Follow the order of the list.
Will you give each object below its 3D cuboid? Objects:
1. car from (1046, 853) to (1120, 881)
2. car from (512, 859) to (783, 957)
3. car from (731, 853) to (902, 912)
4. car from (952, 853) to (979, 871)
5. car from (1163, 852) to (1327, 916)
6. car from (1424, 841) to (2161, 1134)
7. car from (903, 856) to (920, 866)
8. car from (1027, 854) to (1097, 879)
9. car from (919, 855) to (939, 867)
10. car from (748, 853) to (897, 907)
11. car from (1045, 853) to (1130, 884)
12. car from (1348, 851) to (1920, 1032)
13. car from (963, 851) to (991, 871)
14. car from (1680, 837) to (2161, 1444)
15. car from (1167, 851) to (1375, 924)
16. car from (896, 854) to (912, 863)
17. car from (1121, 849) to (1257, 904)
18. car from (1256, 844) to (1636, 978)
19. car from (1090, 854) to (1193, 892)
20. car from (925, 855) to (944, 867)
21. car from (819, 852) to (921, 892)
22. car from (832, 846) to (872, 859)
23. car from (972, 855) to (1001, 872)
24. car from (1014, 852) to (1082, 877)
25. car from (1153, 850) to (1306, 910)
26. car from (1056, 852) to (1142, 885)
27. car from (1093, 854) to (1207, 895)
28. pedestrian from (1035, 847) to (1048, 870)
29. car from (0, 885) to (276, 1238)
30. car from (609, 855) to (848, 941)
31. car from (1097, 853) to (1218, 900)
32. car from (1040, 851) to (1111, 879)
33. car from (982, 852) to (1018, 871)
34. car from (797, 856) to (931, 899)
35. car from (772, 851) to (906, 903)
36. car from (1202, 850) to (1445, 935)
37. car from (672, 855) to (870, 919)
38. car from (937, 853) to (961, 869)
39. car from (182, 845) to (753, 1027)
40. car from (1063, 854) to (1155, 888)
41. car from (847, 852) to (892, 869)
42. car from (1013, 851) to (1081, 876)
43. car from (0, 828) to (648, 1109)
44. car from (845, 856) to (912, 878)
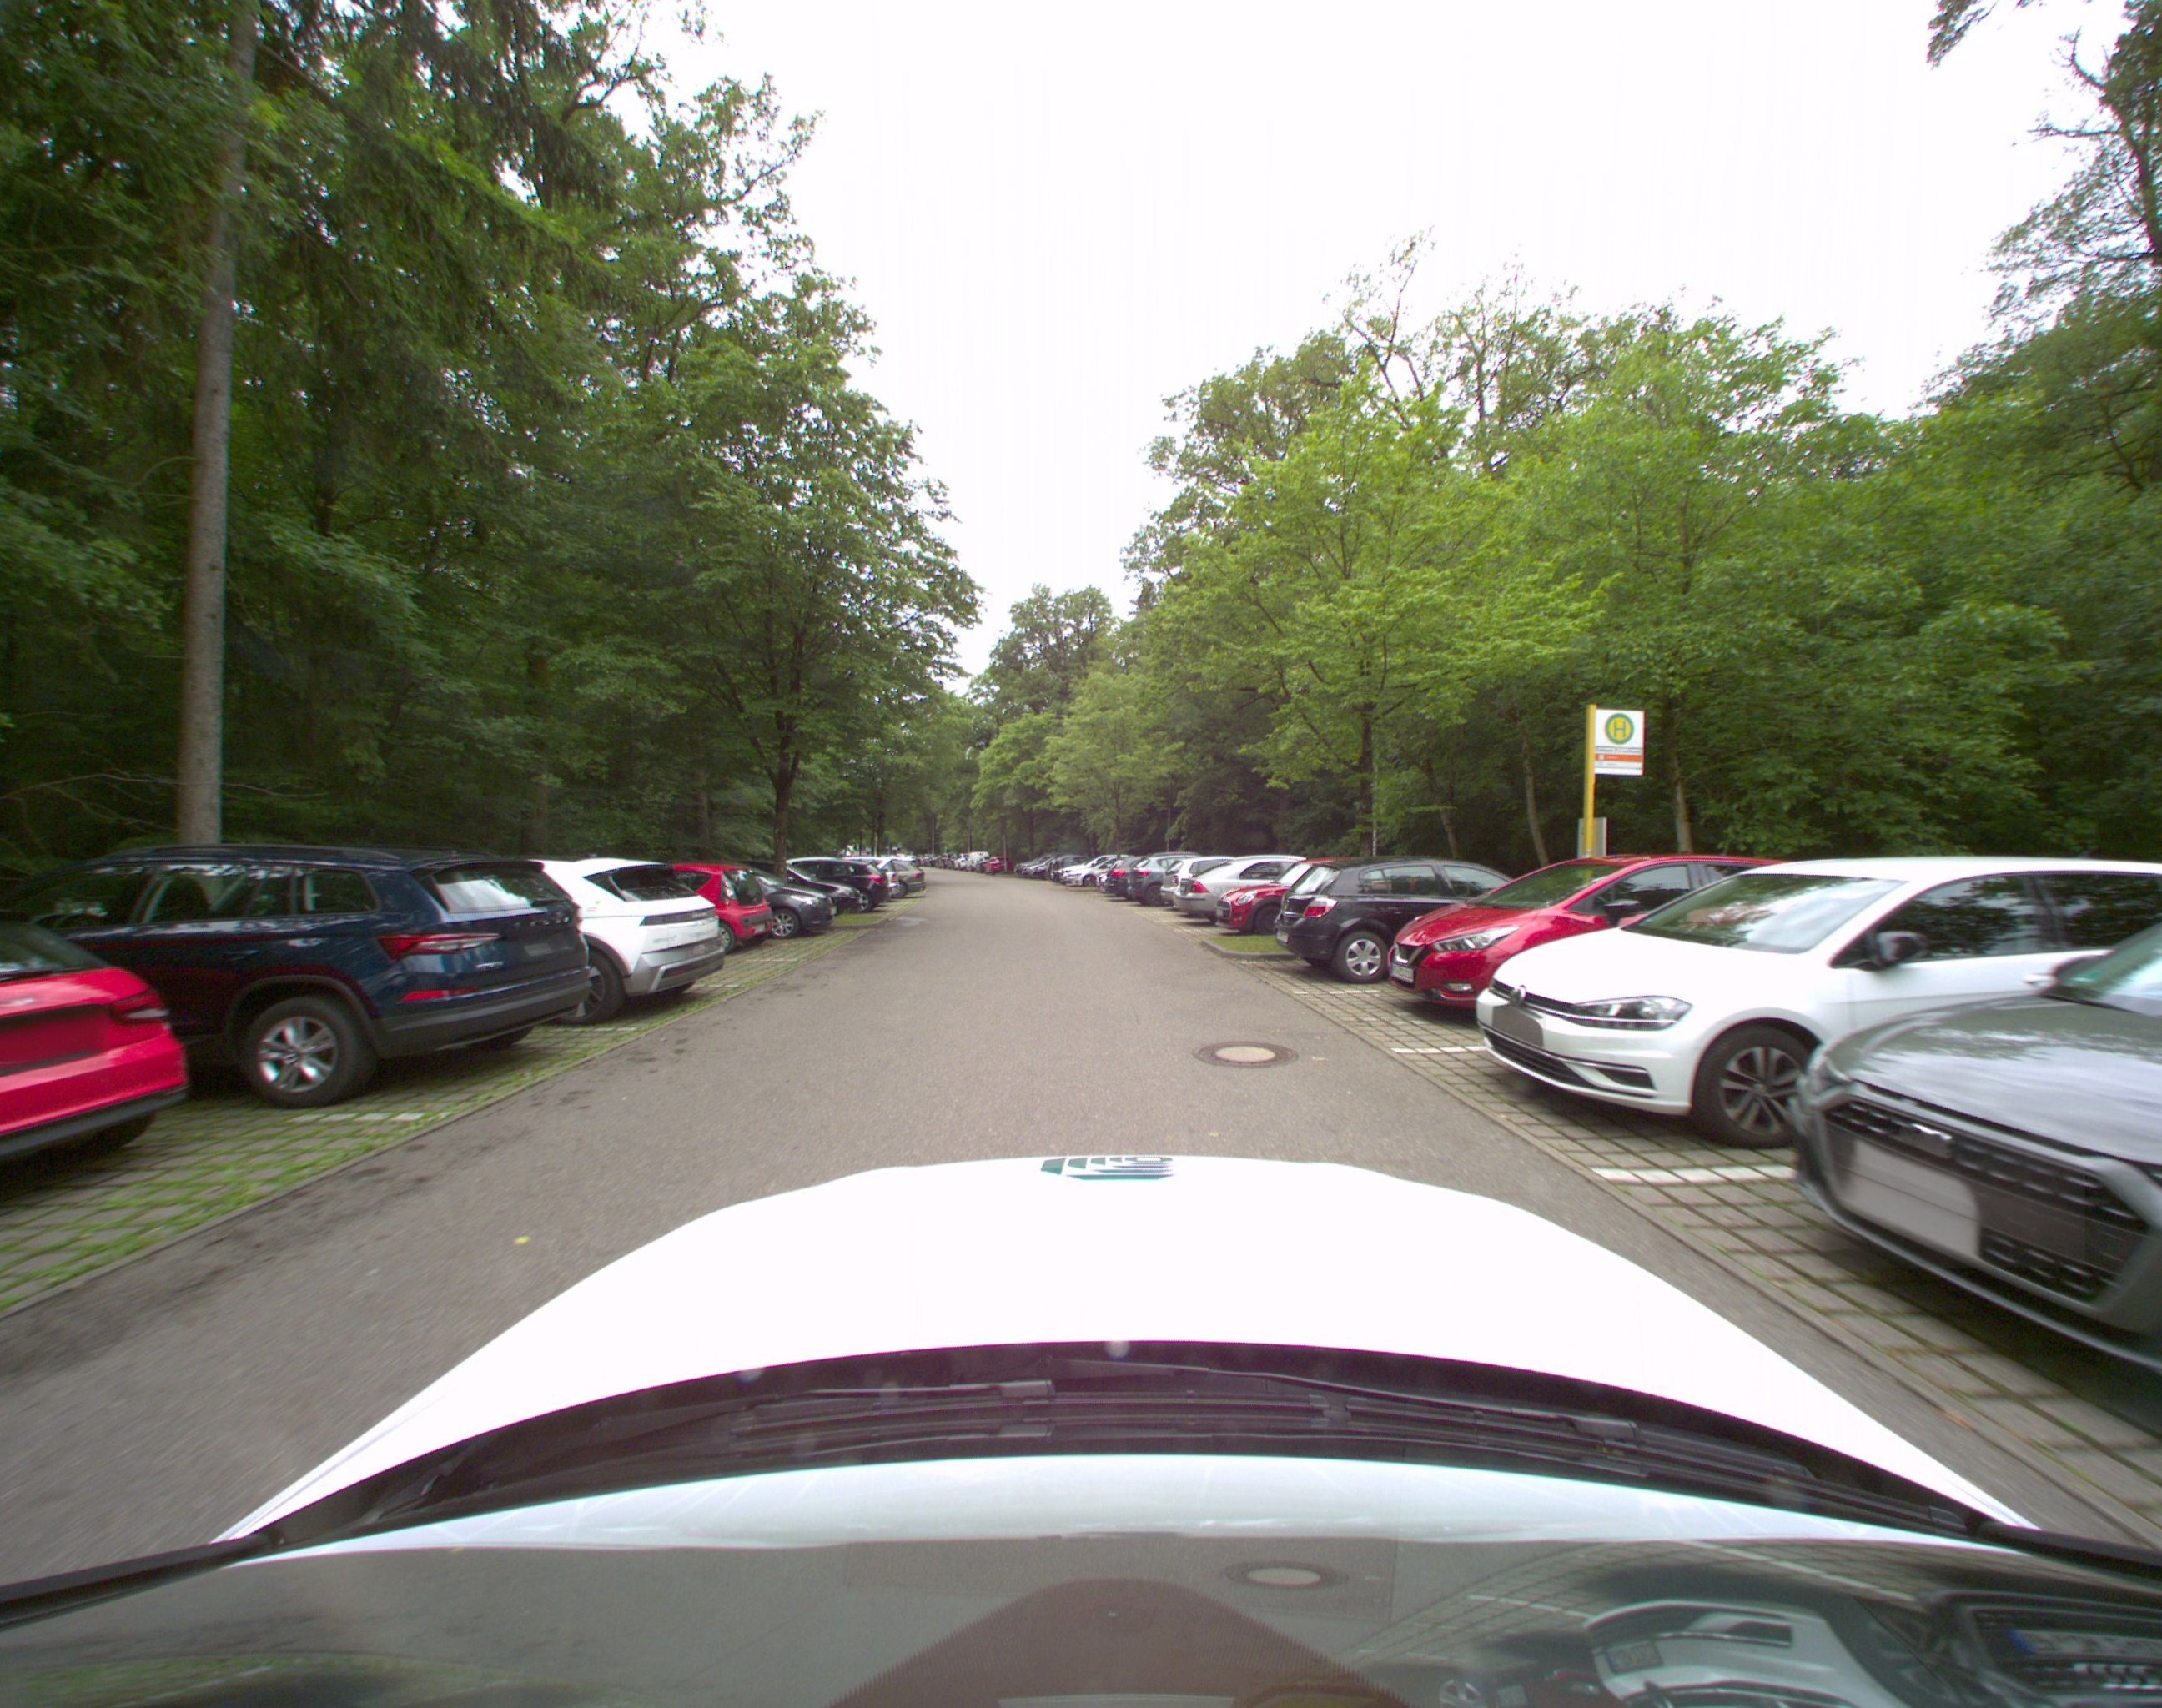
[{"bbox_3d":[0.086,0.704,45.429,3.830,1.457,1.801,-1,0,-13],"label":"car"},{"bbox_3d":[-7.096,0.850,13.625,3.598,1.474,1.673,-1,0,-3],"label":"car"},{"bbox_3d":[-7.366,0.770,23.056,4.227,1.530,2.002,-1,0,-6],"label":"car"},{"bbox_3d":[-11.563,0.765,81.007,1.791,1.662,4.686,0,0,-19],"label":"car"},{"bbox_3d":[4.040,0.720,20.400,3.697,1.511,1.747,0,-1,-6],"label":"car"},{"bbox_3d":[4.883,0.669,5.062,4.755,1.475,1.853,0,1,1],"label":"car"},{"bbox_3d":[-25.903,1.057,124.211,1.944,1.475,3.965,0,0,-20],"label":"car"},{"bbox_3d":[-1.179,0.762,50.205,3.991,1.475,1.944,0,0,-13],"label":"car"},{"bbox_3d":[-20.135,0.900,107.543,1.984,1.537,4.591,0,0,-19],"label":"car"},{"bbox_3d":[-8.031,0.780,25.671,4.233,1.533,1.757,-1,0,-10],"label":"car"},{"bbox_3d":[0.324,0.726,42.775,4.193,1.512,1.884,0,1,-14],"label":"car"},{"bbox_3d":[4.968,0.722,7.763,4.218,1.480,1.918,0,0,-2],"label":"car"},{"bbox_3d":[-9.628,0.665,75.145,1.749,1.780,4.523,0,0,-19],"label":"car"},{"bbox_3d":[4.644,0.760,2.697,3.974,1.483,1.877,1,-1,-1],"label":"car"},{"bbox_3d":[4.106,0.704,18.017,4.119,1.461,1.862,-1,-1,-5],"label":"car"},{"bbox_3d":[-28.184,0.685,129.498,1.729,1.494,3.744,0,0,-24],"label":"car"},{"bbox_3d":[3.247,0.659,24.946,3.764,1.589,1.945,0,0,-7],"label":"car"},{"bbox_3d":[4.414,0.648,10.307,3.976,1.483,1.921,-1,0,-2],"label":"car"},{"bbox_3d":[2.450,0.727,33.209,3.805,1.441,1.859,0,1,-18],"label":"car"},{"bbox_3d":[-18.362,0.897,102.003,1.642,1.477,4.122,0,0,-21],"label":"car"},{"bbox_3d":[-9.161,0.760,35.632,3.951,1.628,1.996,-1,0,-3],"label":"car"},{"bbox_3d":[-29.321,-0.213,104.199,4.748,1.595,1.946,-1,1,-20],"label":"car"},{"bbox_3d":[-8.159,0.796,70.056,1.729,1.422,4.260,0,0,-16],"label":"car"},{"bbox_3d":[-2.129,0.633,52.664,4.000,1.551,1.962,0,0,-20],"label":"car"},{"bbox_3d":[4.050,0.690,22.551,3.841,1.546,1.725,0,0,-9],"label":"car"},{"bbox_3d":[0.846,0.678,40.306,4.008,1.559,1.971,0,1,-10],"label":"car"},{"bbox_3d":[2.540,0.735,30.393,3.932,1.411,1.872,0,1,-10],"label":"car"},{"bbox_3d":[-3.066,0.353,63.609,0.819,1.726,0.998,0,-1,-17],"label":"pedestrian"},{"bbox_3d":[-6.576,0.943,3.655,3.977,1.445,1.821,-1,0,-2],"label":"car"},{"bbox_3d":[-6.828,0.820,16.150,3.983,1.491,1.704,-1,0,-7],"label":"car"},{"bbox_3d":[2.575,0.735,27.745,3.770,1.481,1.767,0,1,-12],"label":"car"},{"bbox_3d":[-0.324,0.639,47.623,3.832,1.531,1.842,-1,0,-14],"label":"car"},{"bbox_3d":[-6.473,0.569,64.713,1.998,1.479,4.944,0,0,-16],"label":"car"},{"bbox_3d":[-8.025,0.846,30.520,4.639,1.478,2.088,-1,0,-10],"label":"car"},{"bbox_3d":[-8.253,0.754,28.160,4.235,1.647,1.962,-1,0,-11],"label":"car"},{"bbox_3d":[4.471,0.675,15.373,3.982,1.449,1.937,-1,0,-6],"label":"car"},{"bbox_3d":[-7.525,0.786,20.118,4.228,1.473,1.716,0,-1,-7],"label":"car"},{"bbox_3d":[-14.979,0.764,92.005,1.895,1.747,4.917,0,0,-19],"label":"car"},{"bbox_3d":[-6.031,0.746,8.513,4.343,1.598,2.029,-1,0,-2],"label":"car"},{"bbox_3d":[1.277,0.743,37.813,3.982,1.483,1.875,0,1,-14],"label":"car"},{"bbox_3d":[-20.999,0.648,80.651,4.235,1.633,2.017,0,0,-18],"label":"car"},{"bbox_3d":[-2.326,0.614,54.946,4.272,1.666,1.948,0,0,-15],"label":"car"},{"bbox_3d":[-5.995,0.678,5.995,4.411,1.694,2.171,0,0,0],"label":"car"},{"bbox_3d":[-14.164,0.895,56.960,4.379,1.486,1.880,-1,-1,-19],"label":"car"}]
